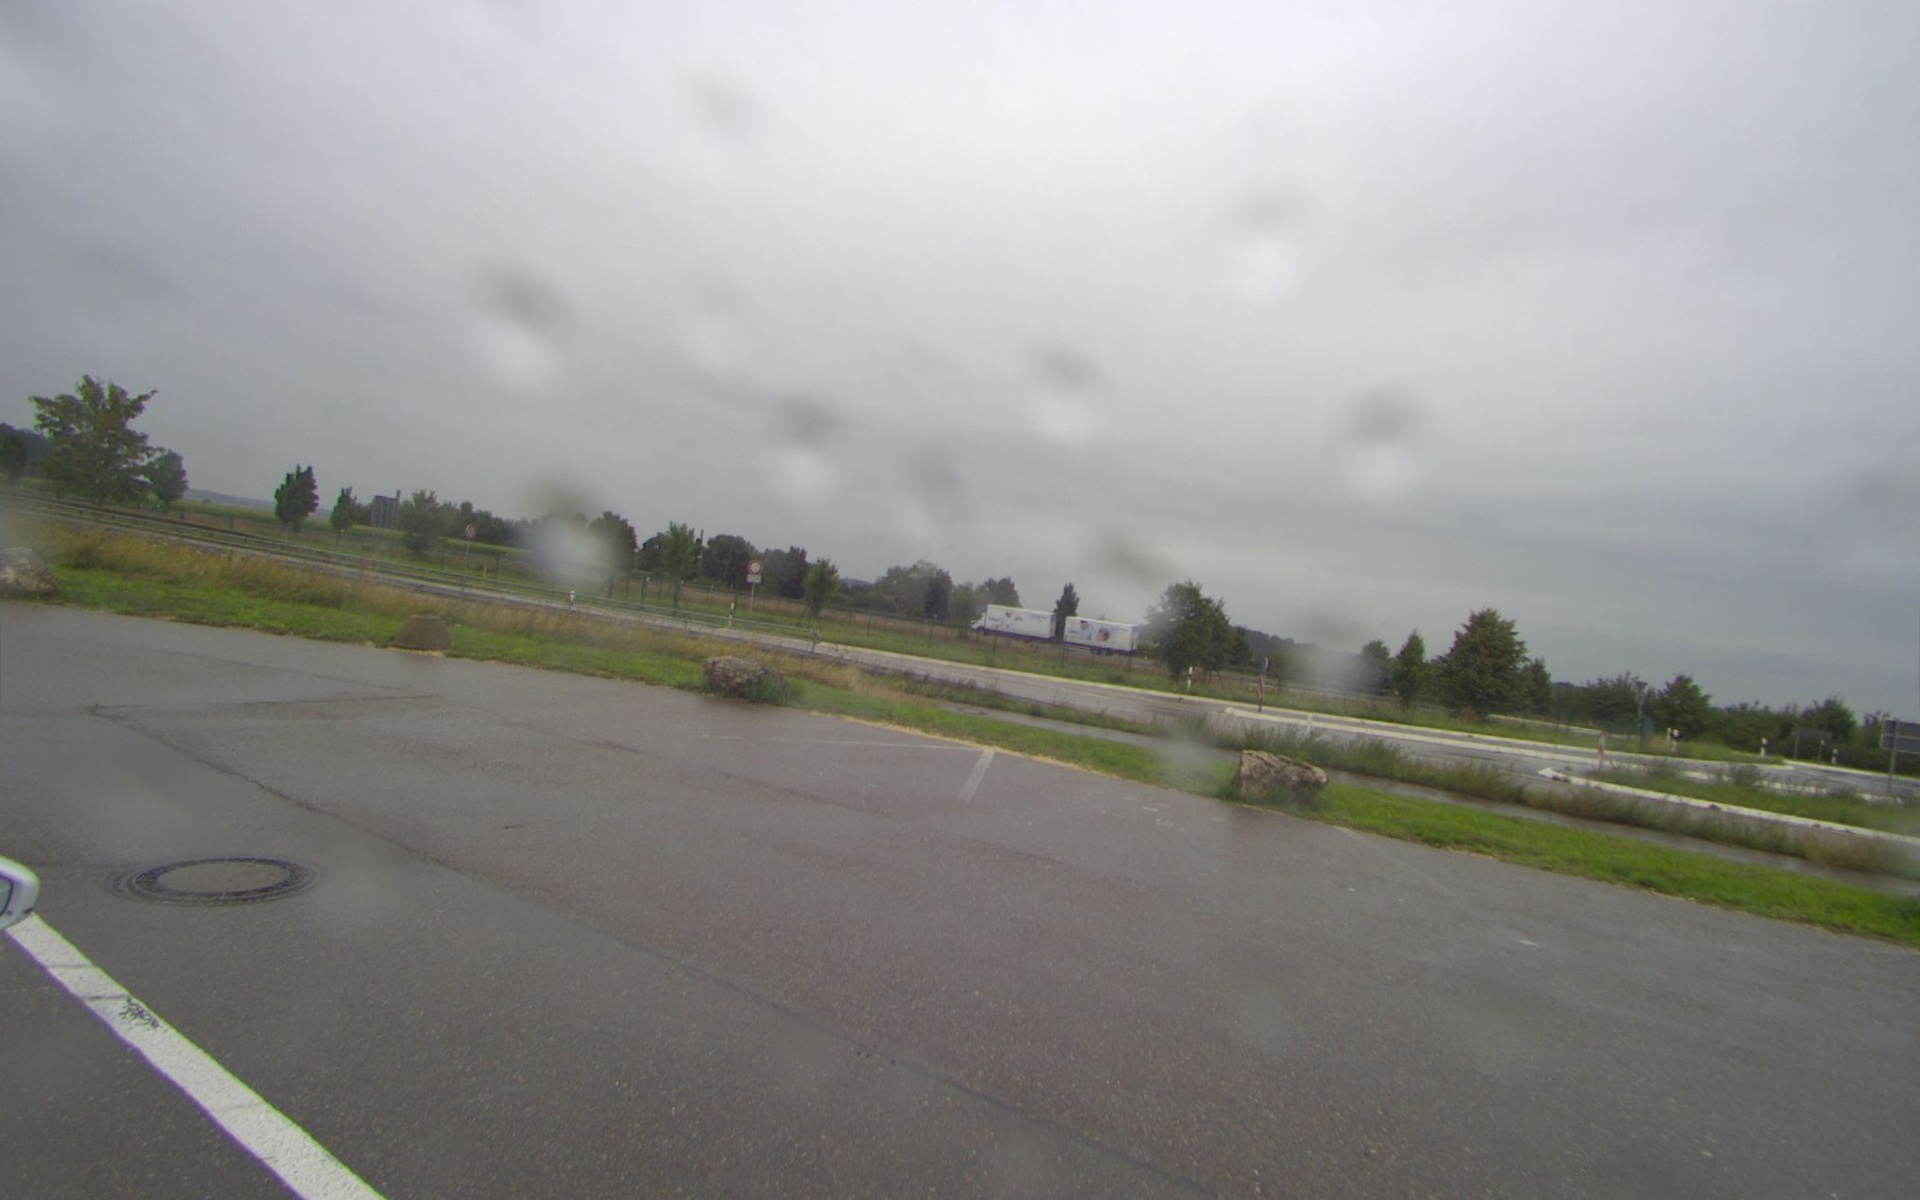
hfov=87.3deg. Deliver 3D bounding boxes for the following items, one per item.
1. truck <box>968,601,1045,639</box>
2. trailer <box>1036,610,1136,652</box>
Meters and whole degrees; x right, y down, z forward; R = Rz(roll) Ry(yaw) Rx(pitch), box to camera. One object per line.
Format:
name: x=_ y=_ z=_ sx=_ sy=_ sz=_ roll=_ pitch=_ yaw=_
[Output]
truck: x=5.009 y=2.153 z=108.792 sx=7.645 sy=2.942 sz=2.185 roll=8 pitch=-1 yaw=18
trailer: x=13.137 y=3.259 z=105.532 sx=9.960 sy=2.936 sz=2.207 roll=8 pitch=-1 yaw=25
